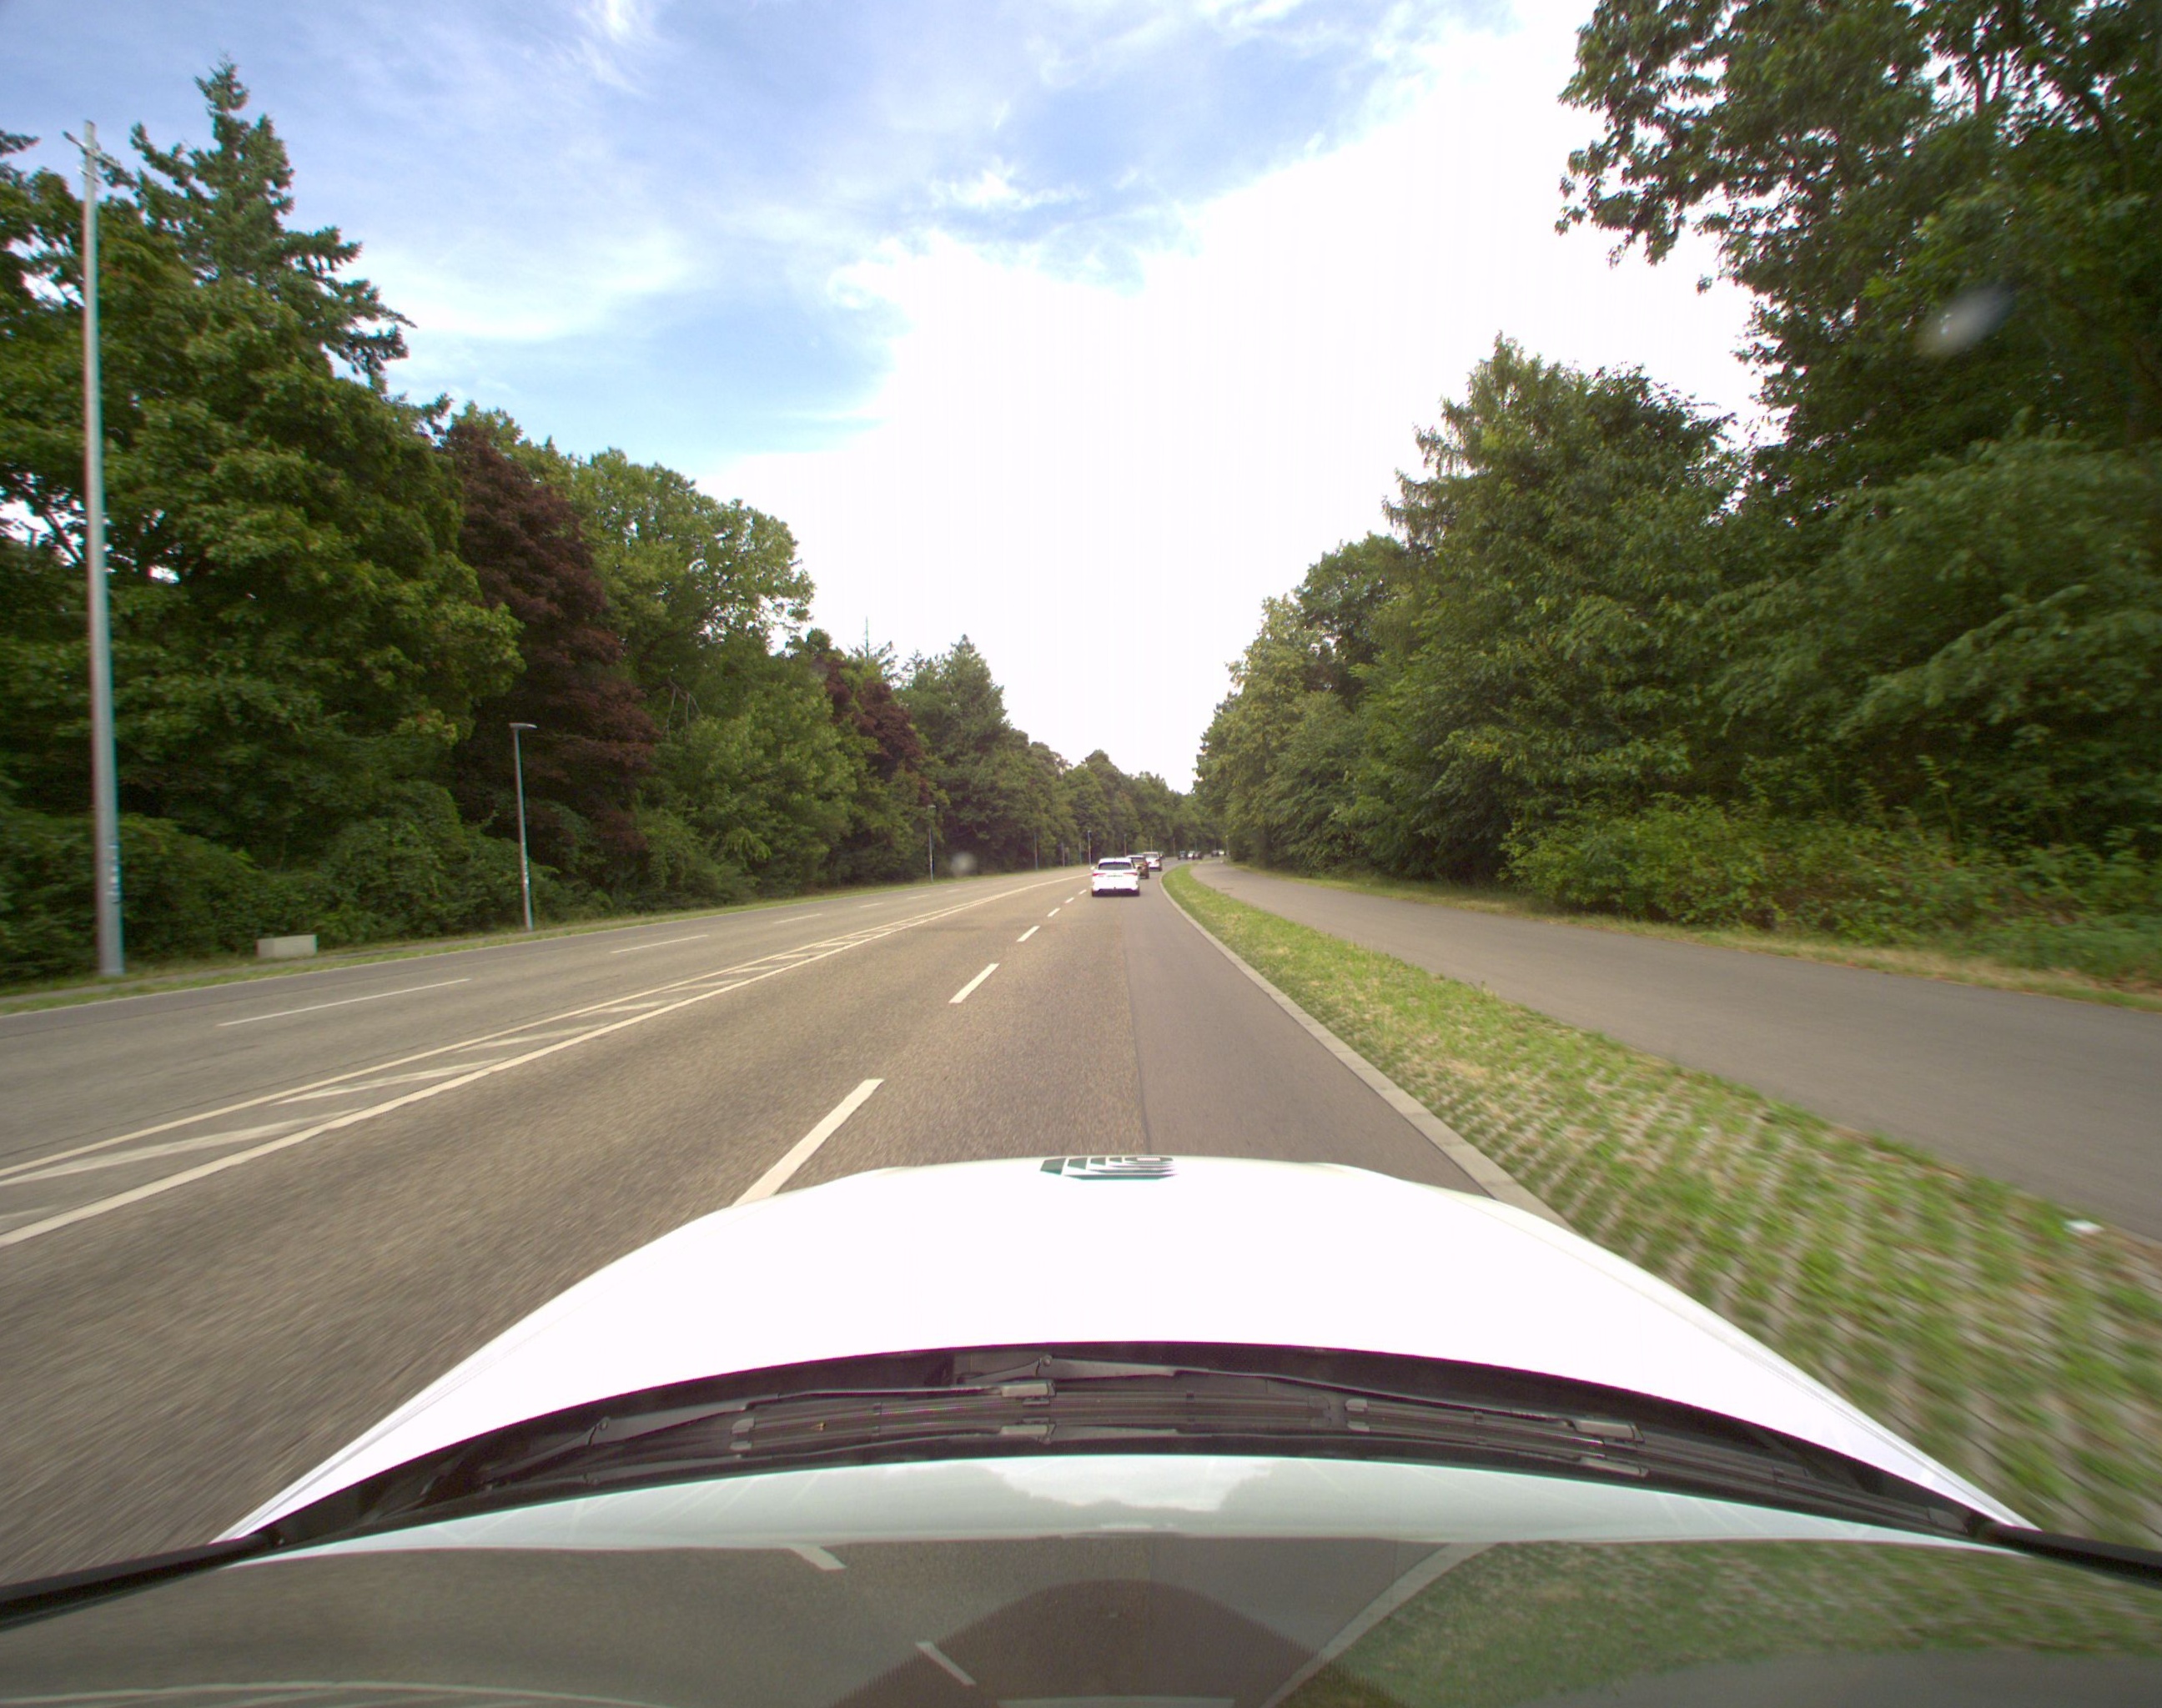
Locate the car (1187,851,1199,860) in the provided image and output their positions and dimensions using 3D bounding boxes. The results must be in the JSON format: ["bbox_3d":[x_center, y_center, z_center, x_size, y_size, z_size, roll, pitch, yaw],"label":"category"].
[{"bbox_3d":[24.903,0.339,181.018,1.978,1.783,4.016,0,-1,16],"label":"car"}]

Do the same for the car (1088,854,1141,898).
[{"bbox_3d":[1.210,0.810,31.177,1.830,1.410,4.490,-4,-1,0],"label":"car"}]

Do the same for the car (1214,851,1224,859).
[{"bbox_3d":[34.674,0.239,204.468,1.977,1.783,4.019,0,-1,19],"label":"car"}]

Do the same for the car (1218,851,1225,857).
[{"bbox_3d":[42.366,-0.019,245.399,1.874,1.816,4.017,0,-1,16],"label":"car"}]

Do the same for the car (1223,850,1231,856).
[{"bbox_3d":[41.962,-0.311,233.392,1.979,1.706,4.015,-2,0,14],"label":"car"}]

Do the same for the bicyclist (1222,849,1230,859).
[{"bbox_3d":[20.998,0.036,118.101,0.890,1.470,0.715,-2,-1,31],"label":"bicyclist"}]

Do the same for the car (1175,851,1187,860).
[{"bbox_3d":[20.181,0.372,164.066,1.980,1.783,4.013,0,-1,12],"label":"car"}]

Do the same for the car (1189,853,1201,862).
[{"bbox_3d":[22.472,0.700,160.300,1.981,1.783,4.012,0,-1,11],"label":"car"}]

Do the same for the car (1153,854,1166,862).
[{"bbox_3d":[16.896,0.853,175.720,1.978,1.791,4.767,0,-1,16],"label":"car"}]

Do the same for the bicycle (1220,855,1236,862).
[{"bbox_3d":[21.233,0.623,117.977,2.153,0.994,0.715,-2,-1,31],"label":"bicycle"}]

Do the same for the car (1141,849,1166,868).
[{"bbox_3d":[6.483,0.420,72.169,1.982,1.607,4.008,0,-1,8],"label":"car"}]

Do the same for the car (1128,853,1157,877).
[{"bbox_3d":[3.845,0.693,50.481,1.627,1.420,4.007,0,-1,7],"label":"car"}]
